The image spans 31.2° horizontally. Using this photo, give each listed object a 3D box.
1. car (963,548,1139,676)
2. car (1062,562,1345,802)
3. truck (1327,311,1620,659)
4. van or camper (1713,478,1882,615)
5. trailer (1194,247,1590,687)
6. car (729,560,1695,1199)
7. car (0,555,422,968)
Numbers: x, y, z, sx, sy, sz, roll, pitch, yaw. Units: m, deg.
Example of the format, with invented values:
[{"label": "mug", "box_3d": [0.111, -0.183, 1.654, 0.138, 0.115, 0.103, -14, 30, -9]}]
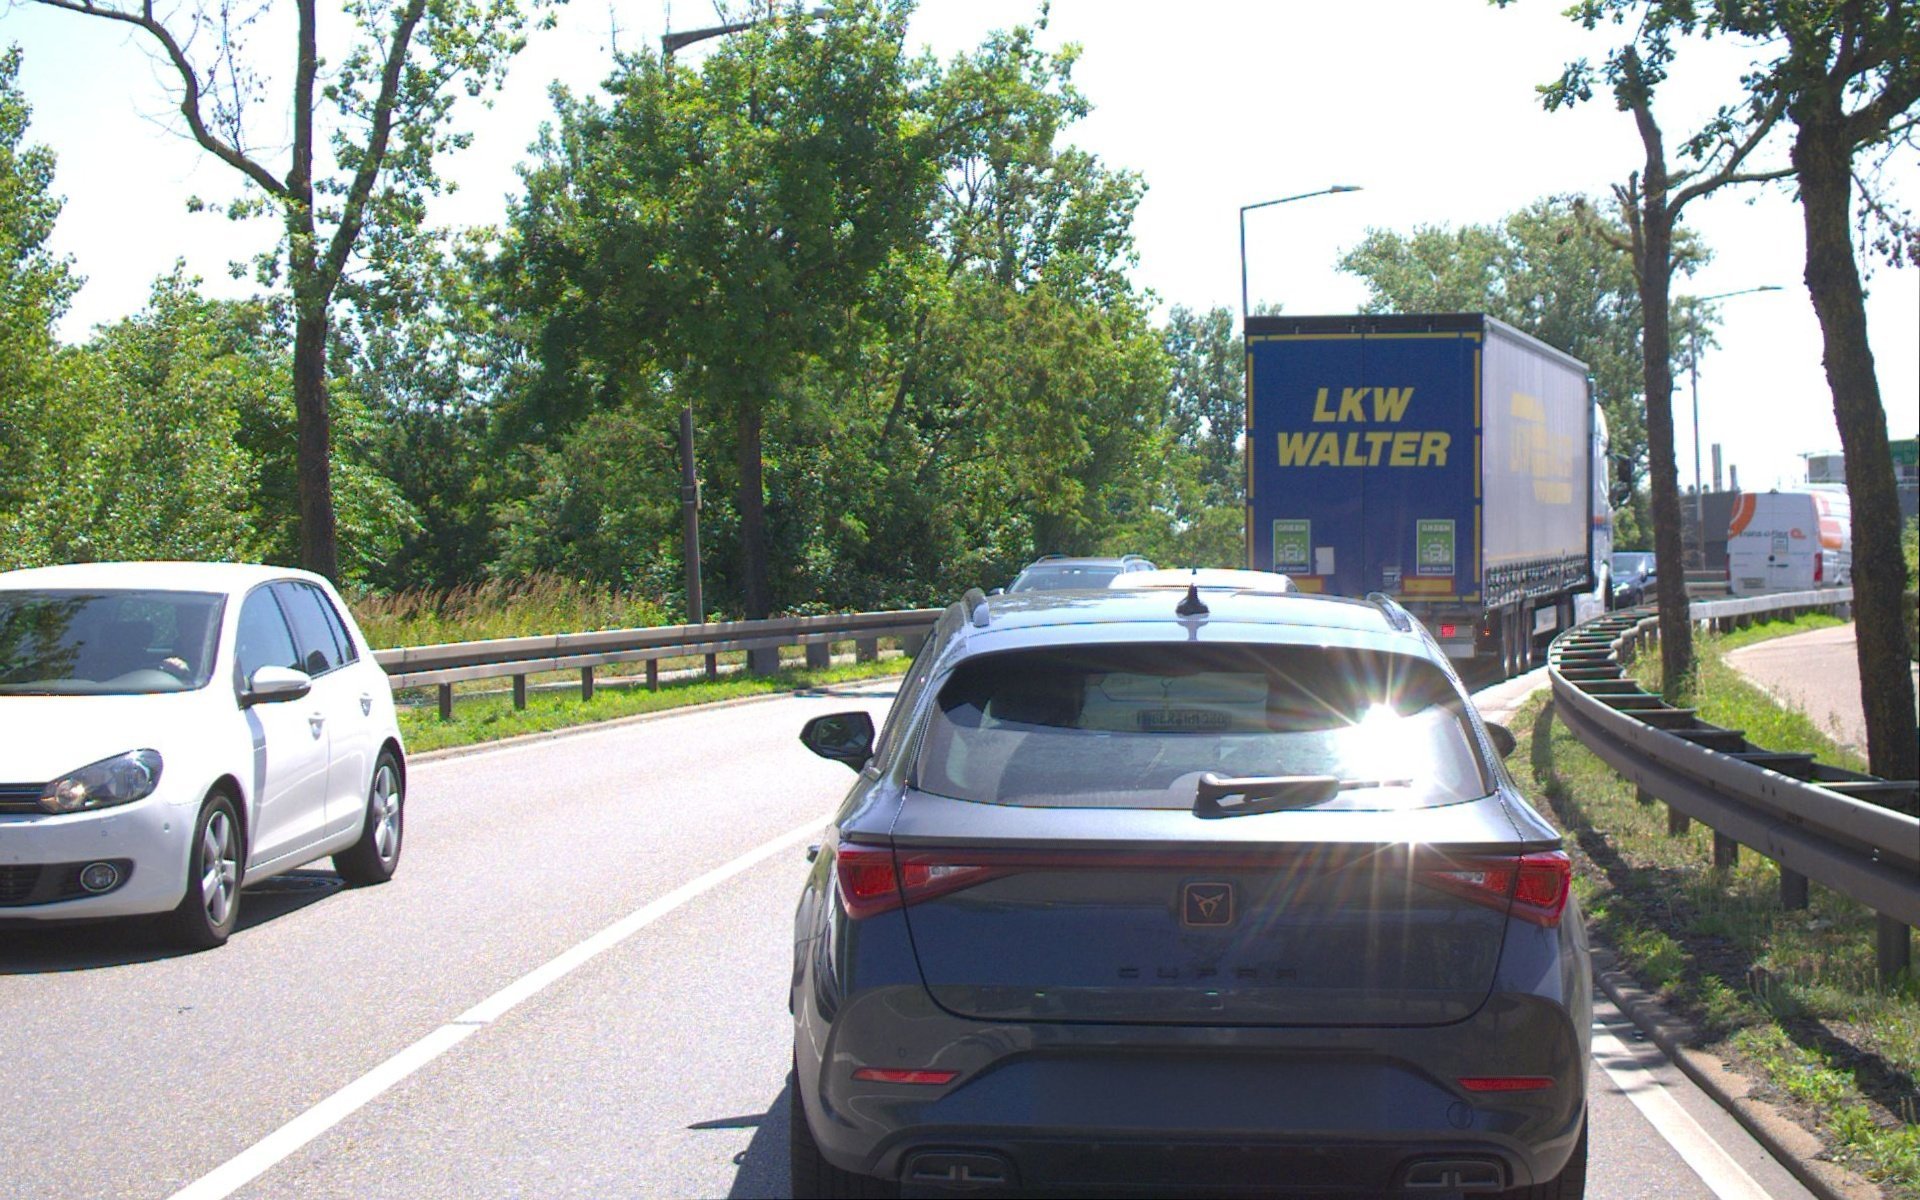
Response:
[{"label": "car", "box_3d": [1.148, 0.100, 41.263, 1.744, 1.442, 4.516, 0, 1, 6]}, {"label": "car", "box_3d": [1.716, 0.488, 23.304, 1.593, 1.456, 3.543, 1, 1, 9]}, {"label": "truck", "box_3d": [7.462, -1.554, 49.104, 3.172, 4.569, 7.391, 1, 0, 16]}, {"label": "van or camper", "box_3d": [17.314, -1.112, 70.867, 2.206, 2.702, 5.918, 0, 1, 26]}, {"label": "trailer", "box_3d": [5.697, -1.503, 42.650, 3.136, 4.598, 12.939, 1, 1, 15]}, {"label": "car", "box_3d": [0.455, 0.660, 8.452, 1.845, 1.493, 3.758, 0, 1, -1]}, {"label": "car", "box_3d": [-3.588, 0.550, 14.333, 1.725, 1.434, 4.023, 1, 1, 5]}]
